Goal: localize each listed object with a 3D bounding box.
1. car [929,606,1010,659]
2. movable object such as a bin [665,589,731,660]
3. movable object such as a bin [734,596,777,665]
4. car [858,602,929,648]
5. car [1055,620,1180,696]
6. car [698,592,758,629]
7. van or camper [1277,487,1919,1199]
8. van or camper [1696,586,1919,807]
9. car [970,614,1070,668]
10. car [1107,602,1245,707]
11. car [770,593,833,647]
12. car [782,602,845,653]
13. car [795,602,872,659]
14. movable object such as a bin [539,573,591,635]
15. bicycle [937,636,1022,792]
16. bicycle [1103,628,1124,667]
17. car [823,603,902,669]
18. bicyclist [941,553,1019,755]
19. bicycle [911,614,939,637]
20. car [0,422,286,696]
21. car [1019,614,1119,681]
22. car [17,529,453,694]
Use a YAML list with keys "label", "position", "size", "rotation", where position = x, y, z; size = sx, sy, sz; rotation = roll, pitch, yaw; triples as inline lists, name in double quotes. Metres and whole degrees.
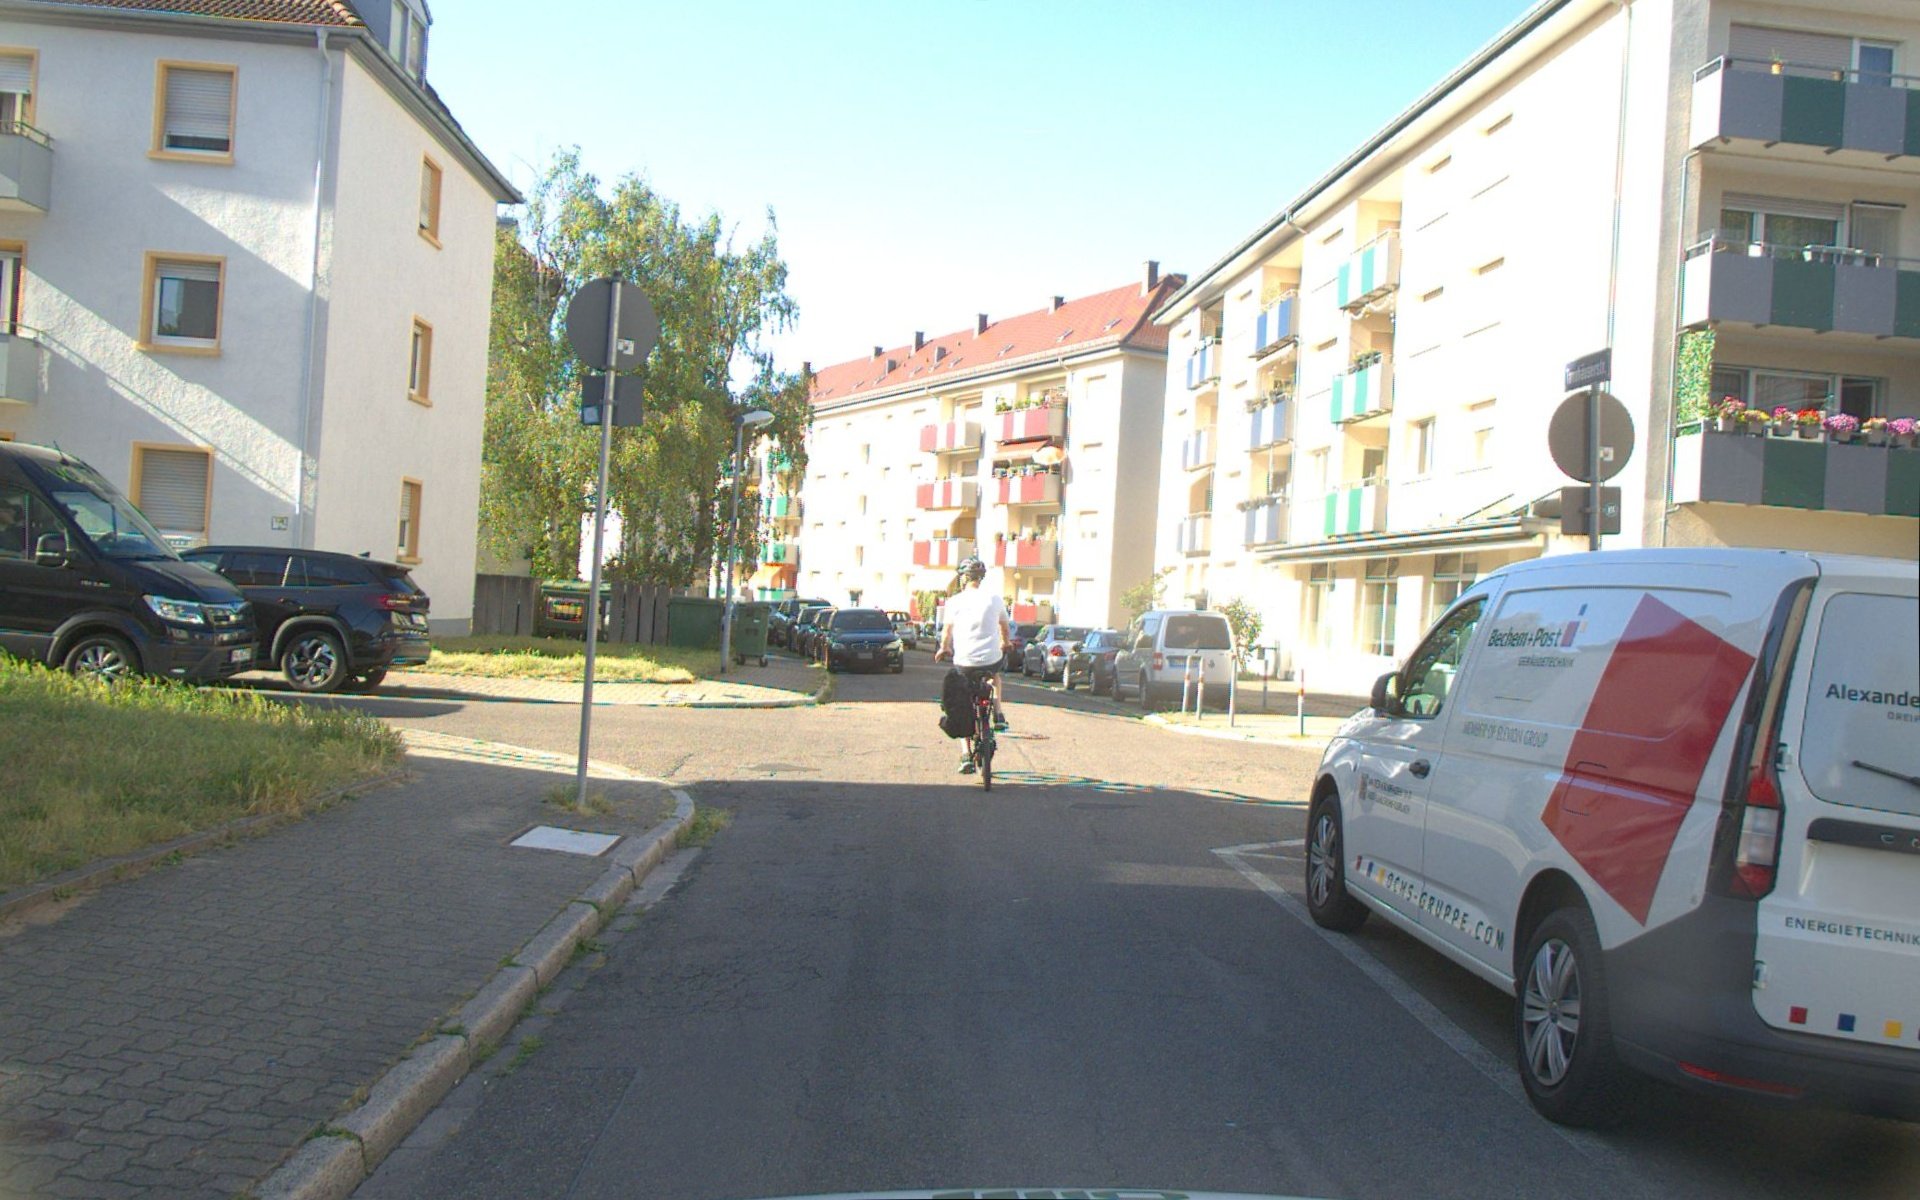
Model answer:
- label: "car"
  position: [0.277, 1.124, 56.251]
  size: [1.665, 1.685, 4.373]
  rotation: [2, -2, -14]
- label: "movable object such as a bin"
  position: [-5.632, 0.526, 35.573]
  size: [1.195, 1.404, 0.767]
  rotation: [4, -1, 1]
- label: "movable object such as a bin"
  position: [-4.356, 0.640, 35.359]
  size: [0.760, 1.417, 1.416]
  rotation: [3, -1, -4]
- label: "car"
  position: [-2.778, 1.008, 68.302]
  size: [1.740, 1.664, 4.017]
  rotation: [2, 1, -21]
- label: "car"
  position: [3.485, 1.260, 37.352]
  size: [1.647, 1.431, 4.536]
  rotation: [4, 0, -9]
- label: "car"
  position: [-9.946, 0.419, 70.668]
  size: [1.669, 1.413, 4.133]
  rotation: [3, 0, -20]
- label: "van or camper"
  position: [2.729, 0.722, 6.472]
  size: [1.757, 1.777, 4.733]
  rotation: [7, 0, -2]
- label: "van or camper"
  position: [10.669, 1.065, 17.223]
  size: [5.020, 2.048, 2.000]
  rotation: [4, 1, -1]
- label: "car"
  position: [1.728, 1.190, 49.321]
  size: [1.666, 1.456, 4.669]
  rotation: [2, -1, -15]
- label: "car"
  position: [4.080, 0.989, 31.835]
  size: [1.713, 1.856, 4.126]
  rotation: [1, 0, -6]
- label: "car"
  position: [-5.393, 0.654, 55.879]
  size: [1.529, 1.744, 4.322]
  rotation: [1, 0, -14]
- label: "car"
  position: [-4.453, 0.792, 49.917]
  size: [1.527, 1.468, 3.958]
  rotation: [1, 0, -10]
- label: "car"
  position: [-3.495, 0.807, 45.047]
  size: [1.647, 1.468, 4.269]
  rotation: [1, 0, -10]
- label: "movable object such as a bin"
  position: [-9.704, 0.094, 40.668]
  size: [1.040, 1.460, 1.002]
  rotation: [2, 0, -4]
- label: "bicycle"
  position: [0.158, 0.898, 13.696]
  size: [0.614, 1.134, 1.816]
  rotation: [2, 0, 1]
- label: "bicycle"
  position: [5.100, 1.572, 54.923]
  size: [0.504, 1.224, 1.761]
  rotation: [2, 0, 0]
- label: "car"
  position: [-2.400, 0.818, 39.909]
  size: [1.646, 1.478, 4.614]
  rotation: [1, 0, -7]
- label: "bicyclist"
  position: [0.166, 0.424, 13.752]
  size: [0.584, 1.606, 0.907]
  rotation: [2, 2, 1]
- label: "bicycle"
  position: [-1.652, 1.193, 77.615]
  size: [0.609, 0.995, 1.883]
  rotation: [0, 2, -23]
- label: "car"
  position: [-10.271, -0.458, 16.927]
  size: [5.822, 2.589, 1.999]
  rotation: [2, 0, -3]
- label: "car"
  position: [2.788, 1.202, 43.382]
  size: [1.646, 1.472, 4.716]
  rotation: [4, 0, -8]
- label: "car"
  position: [-8.618, 0.164, 19.958]
  size: [4.398, 1.693, 1.718]
  rotation: [3, -2, -2]
